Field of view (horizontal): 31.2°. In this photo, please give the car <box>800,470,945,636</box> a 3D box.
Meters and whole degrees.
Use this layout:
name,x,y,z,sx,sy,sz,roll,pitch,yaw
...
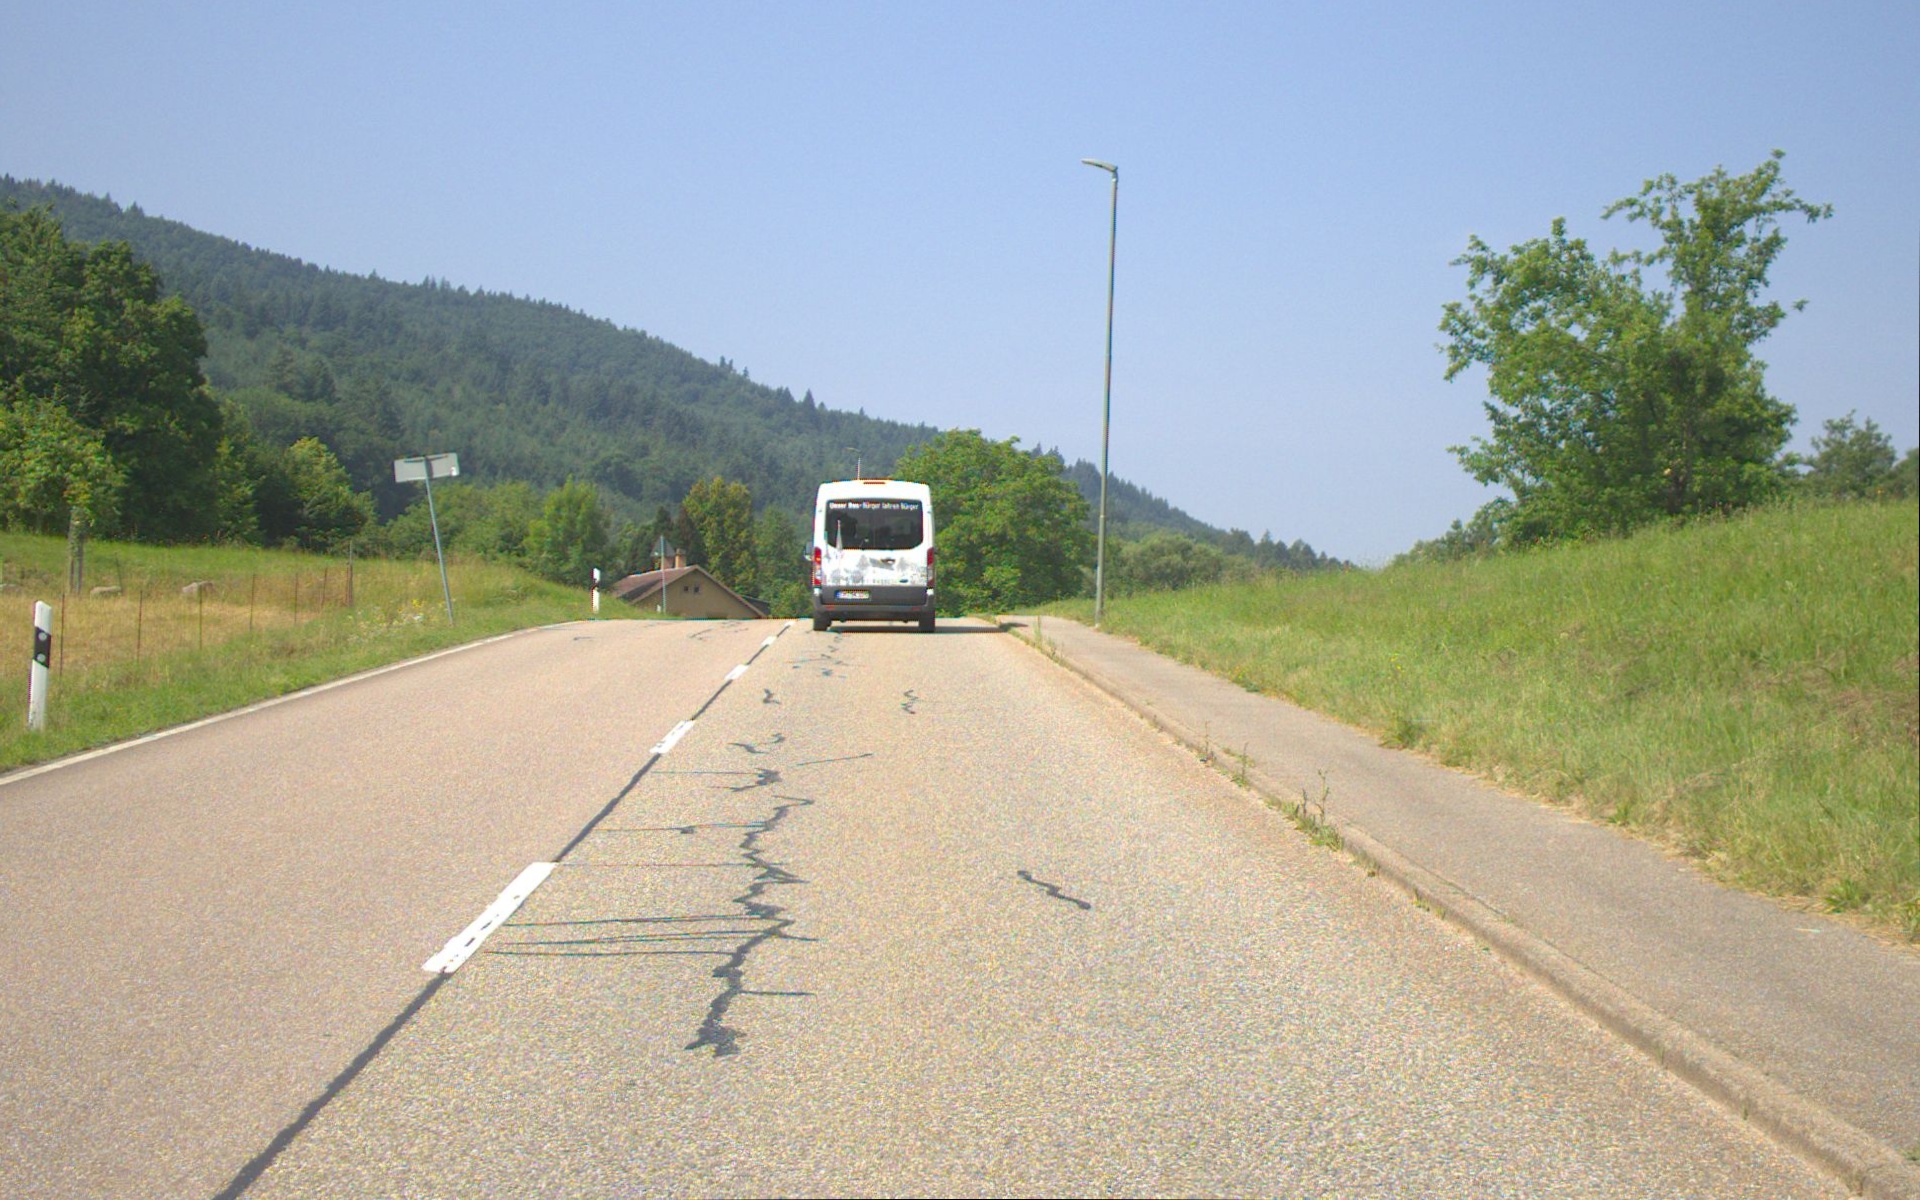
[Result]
name,x,y,z,sx,sy,sz,roll,pitch,yaw
car,-1.456,-0.728,57.365,2.222,2.517,4.984,-2,-1,-1
